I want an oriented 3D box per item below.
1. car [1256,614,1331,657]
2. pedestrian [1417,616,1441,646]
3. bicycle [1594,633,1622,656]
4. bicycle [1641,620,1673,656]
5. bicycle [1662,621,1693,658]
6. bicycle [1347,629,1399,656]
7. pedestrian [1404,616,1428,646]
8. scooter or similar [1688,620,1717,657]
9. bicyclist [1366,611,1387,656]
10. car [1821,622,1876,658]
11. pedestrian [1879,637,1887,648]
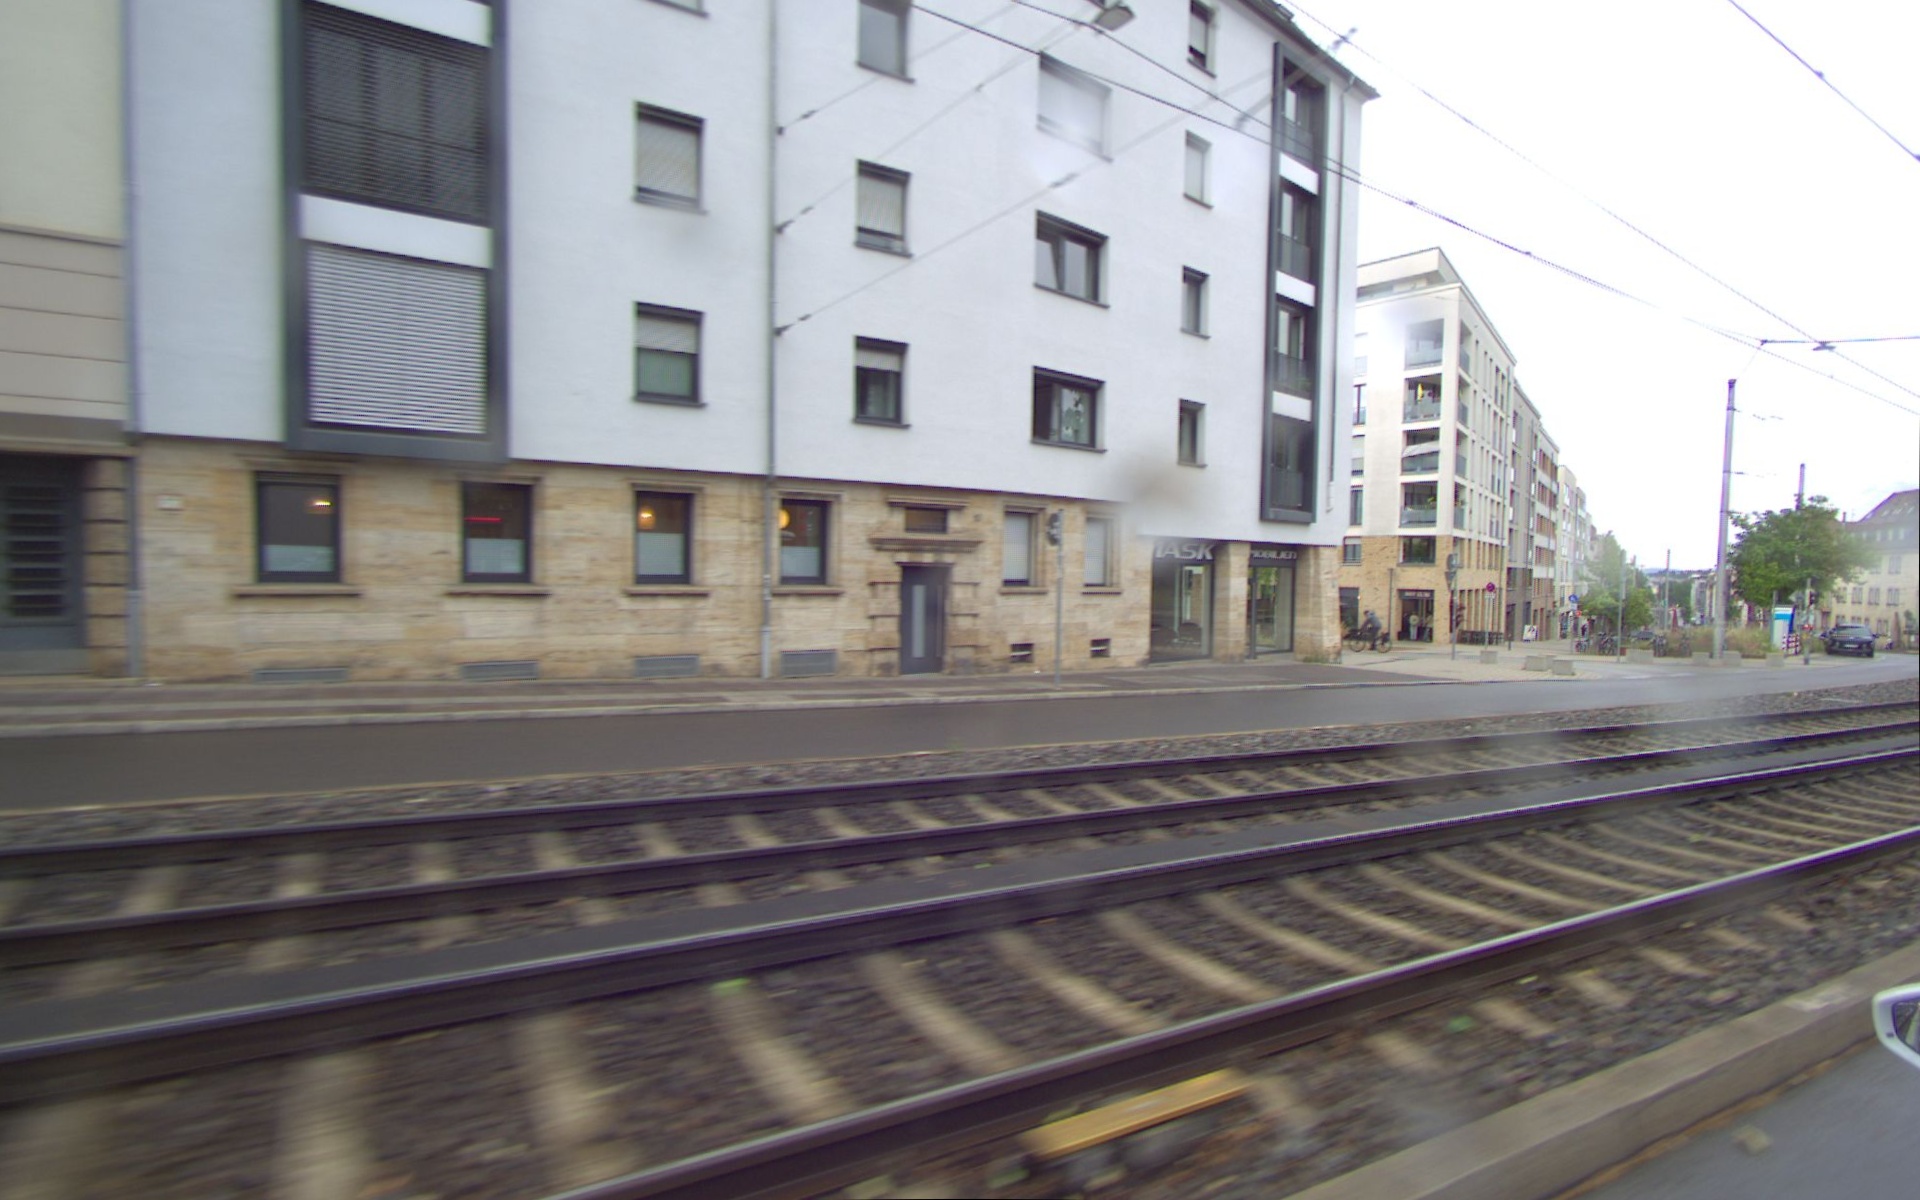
[{"bbox_3d":[12.369,1.303,37.109,1.574,1.439,3.905,1,-1,34],"label":"car"},{"bbox_3d":[26.562,1.772,56.867,0.890,1.674,0.837,1,-1,-21],"label":"pedestrian"},{"bbox_3d":[30.936,2.134,47.915,2.211,1.061,0.471,2,-1,-39],"label":"bicycle"},{"bbox_3d":[32.083,1.748,46.228,2.344,1.617,0.669,2,-1,-43],"label":"bicycle"},{"bbox_3d":[32.598,1.775,45.604,2.344,1.617,0.669,2,-1,-43],"label":"bicycle"},{"bbox_3d":[17.166,1.742,41.818,1.973,1.042,0.735,1,0,22],"label":"bicycle"},{"bbox_3d":[25.634,1.761,56.427,0.891,1.673,0.837,1,-2,-22],"label":"pedestrian"},{"bbox_3d":[33.227,1.728,44.923,2.344,1.617,0.594,2,-1,-43],"label":"scooter or similar"},{"bbox_3d":[17.330,1.365,41.795,0.773,1.828,0.901,1,0,21],"label":"bicyclist"},{"bbox_3d":[46.259,2.073,52.359,1.971,1.626,4.194,5,1,41],"label":"car"},{"bbox_3d":[111.915,5.115,121.808,0.496,1.333,0.510,2,0,25],"label":"pedestrian"}]
